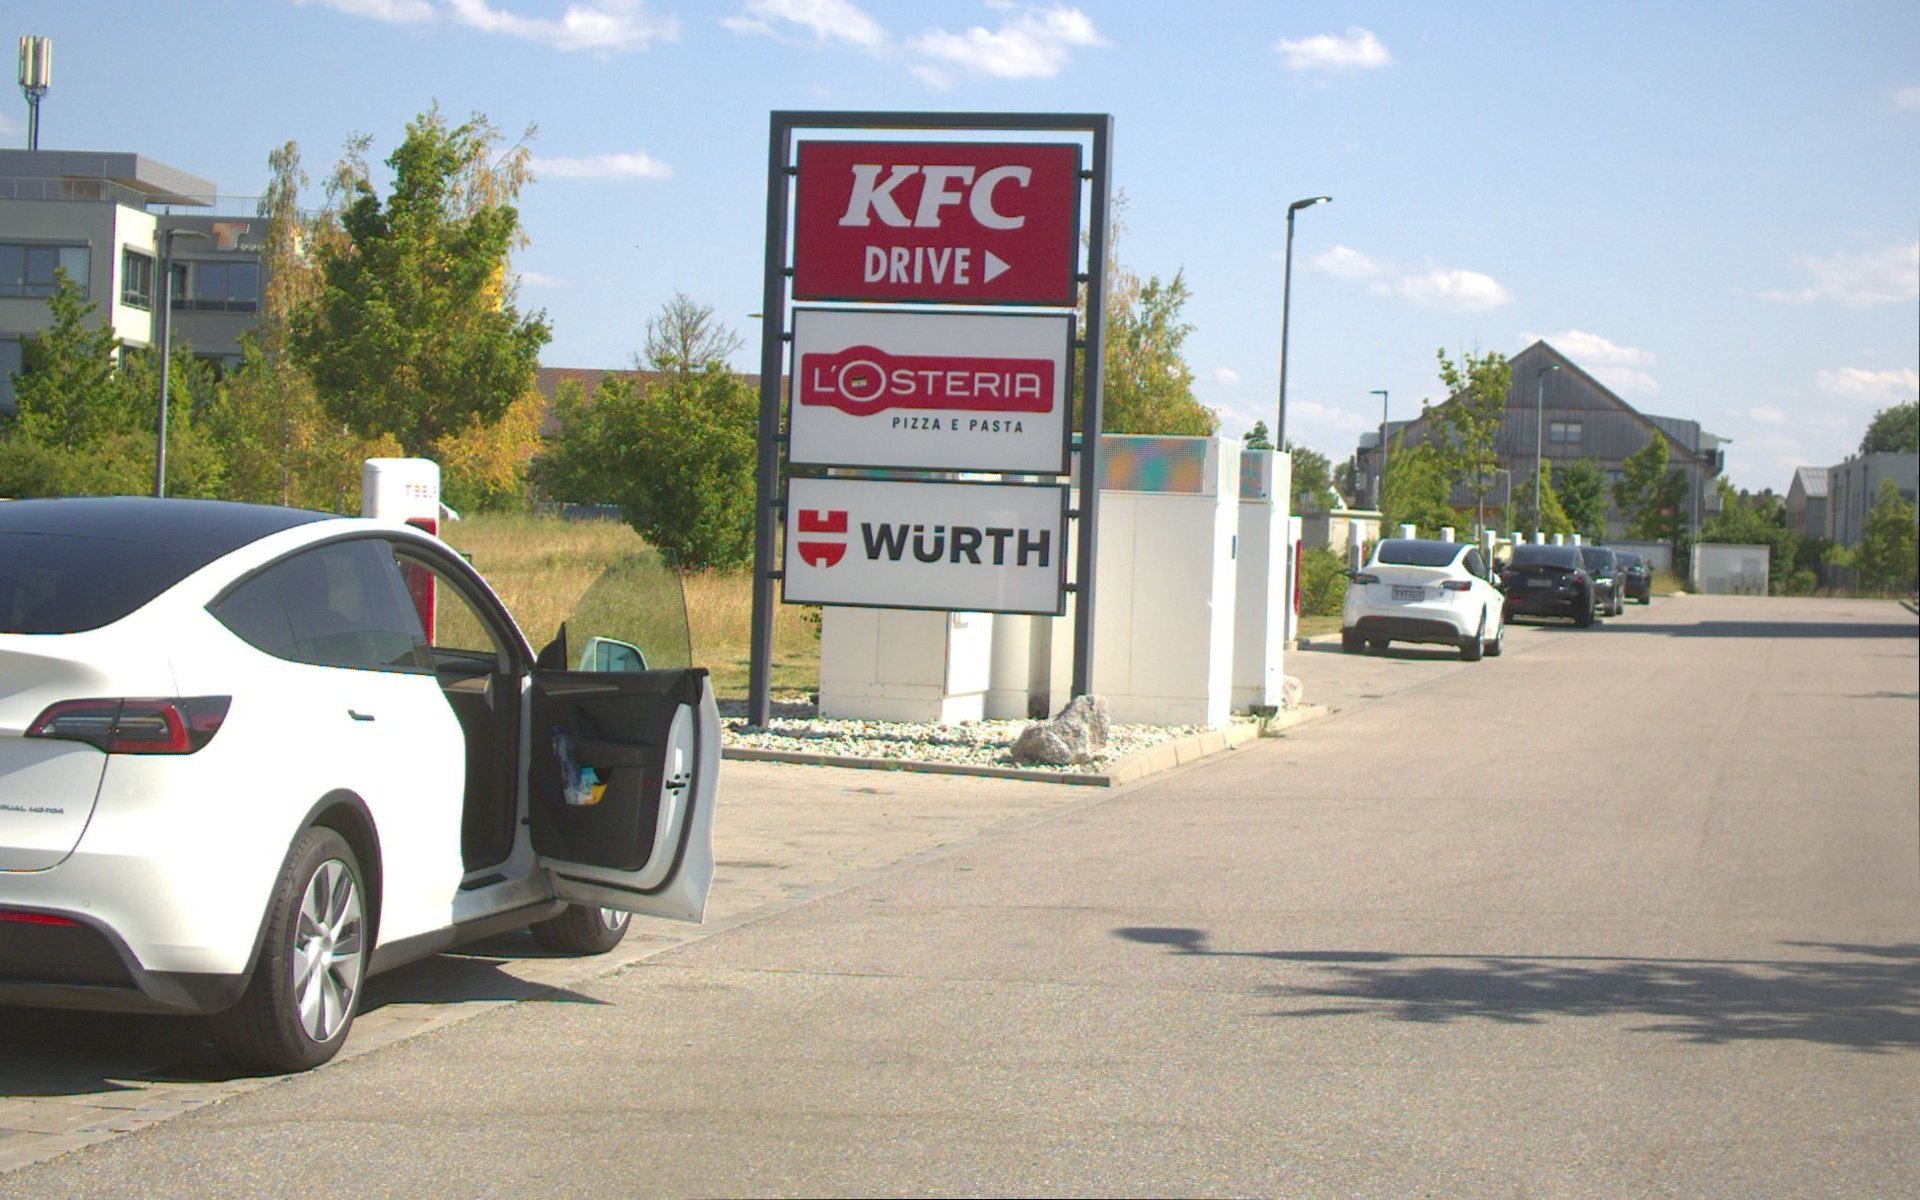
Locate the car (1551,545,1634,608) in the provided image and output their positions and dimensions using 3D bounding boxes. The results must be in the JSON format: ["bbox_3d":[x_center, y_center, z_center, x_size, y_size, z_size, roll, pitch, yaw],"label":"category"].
[{"bbox_3d":[14.911,-0.568,80.894,1.743,1.382,3.998,3,1,12],"label":"car"}]

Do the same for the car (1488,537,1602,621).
[{"bbox_3d":[11.828,-0.446,69.327,1.946,1.563,3.998,3,1,13],"label":"car"}]

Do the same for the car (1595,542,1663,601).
[{"bbox_3d":[18.947,-0.824,97.306,1.743,1.563,3.998,3,1,12],"label":"car"}]

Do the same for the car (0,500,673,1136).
[{"bbox_3d":[-2.453,0.502,11.215,1.865,1.594,4.487,3,1,10],"label":"car"}]

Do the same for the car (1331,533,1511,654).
[{"bbox_3d":[6.565,-0.125,48.592,1.946,1.563,3.997,3,1,15],"label":"car"}]
